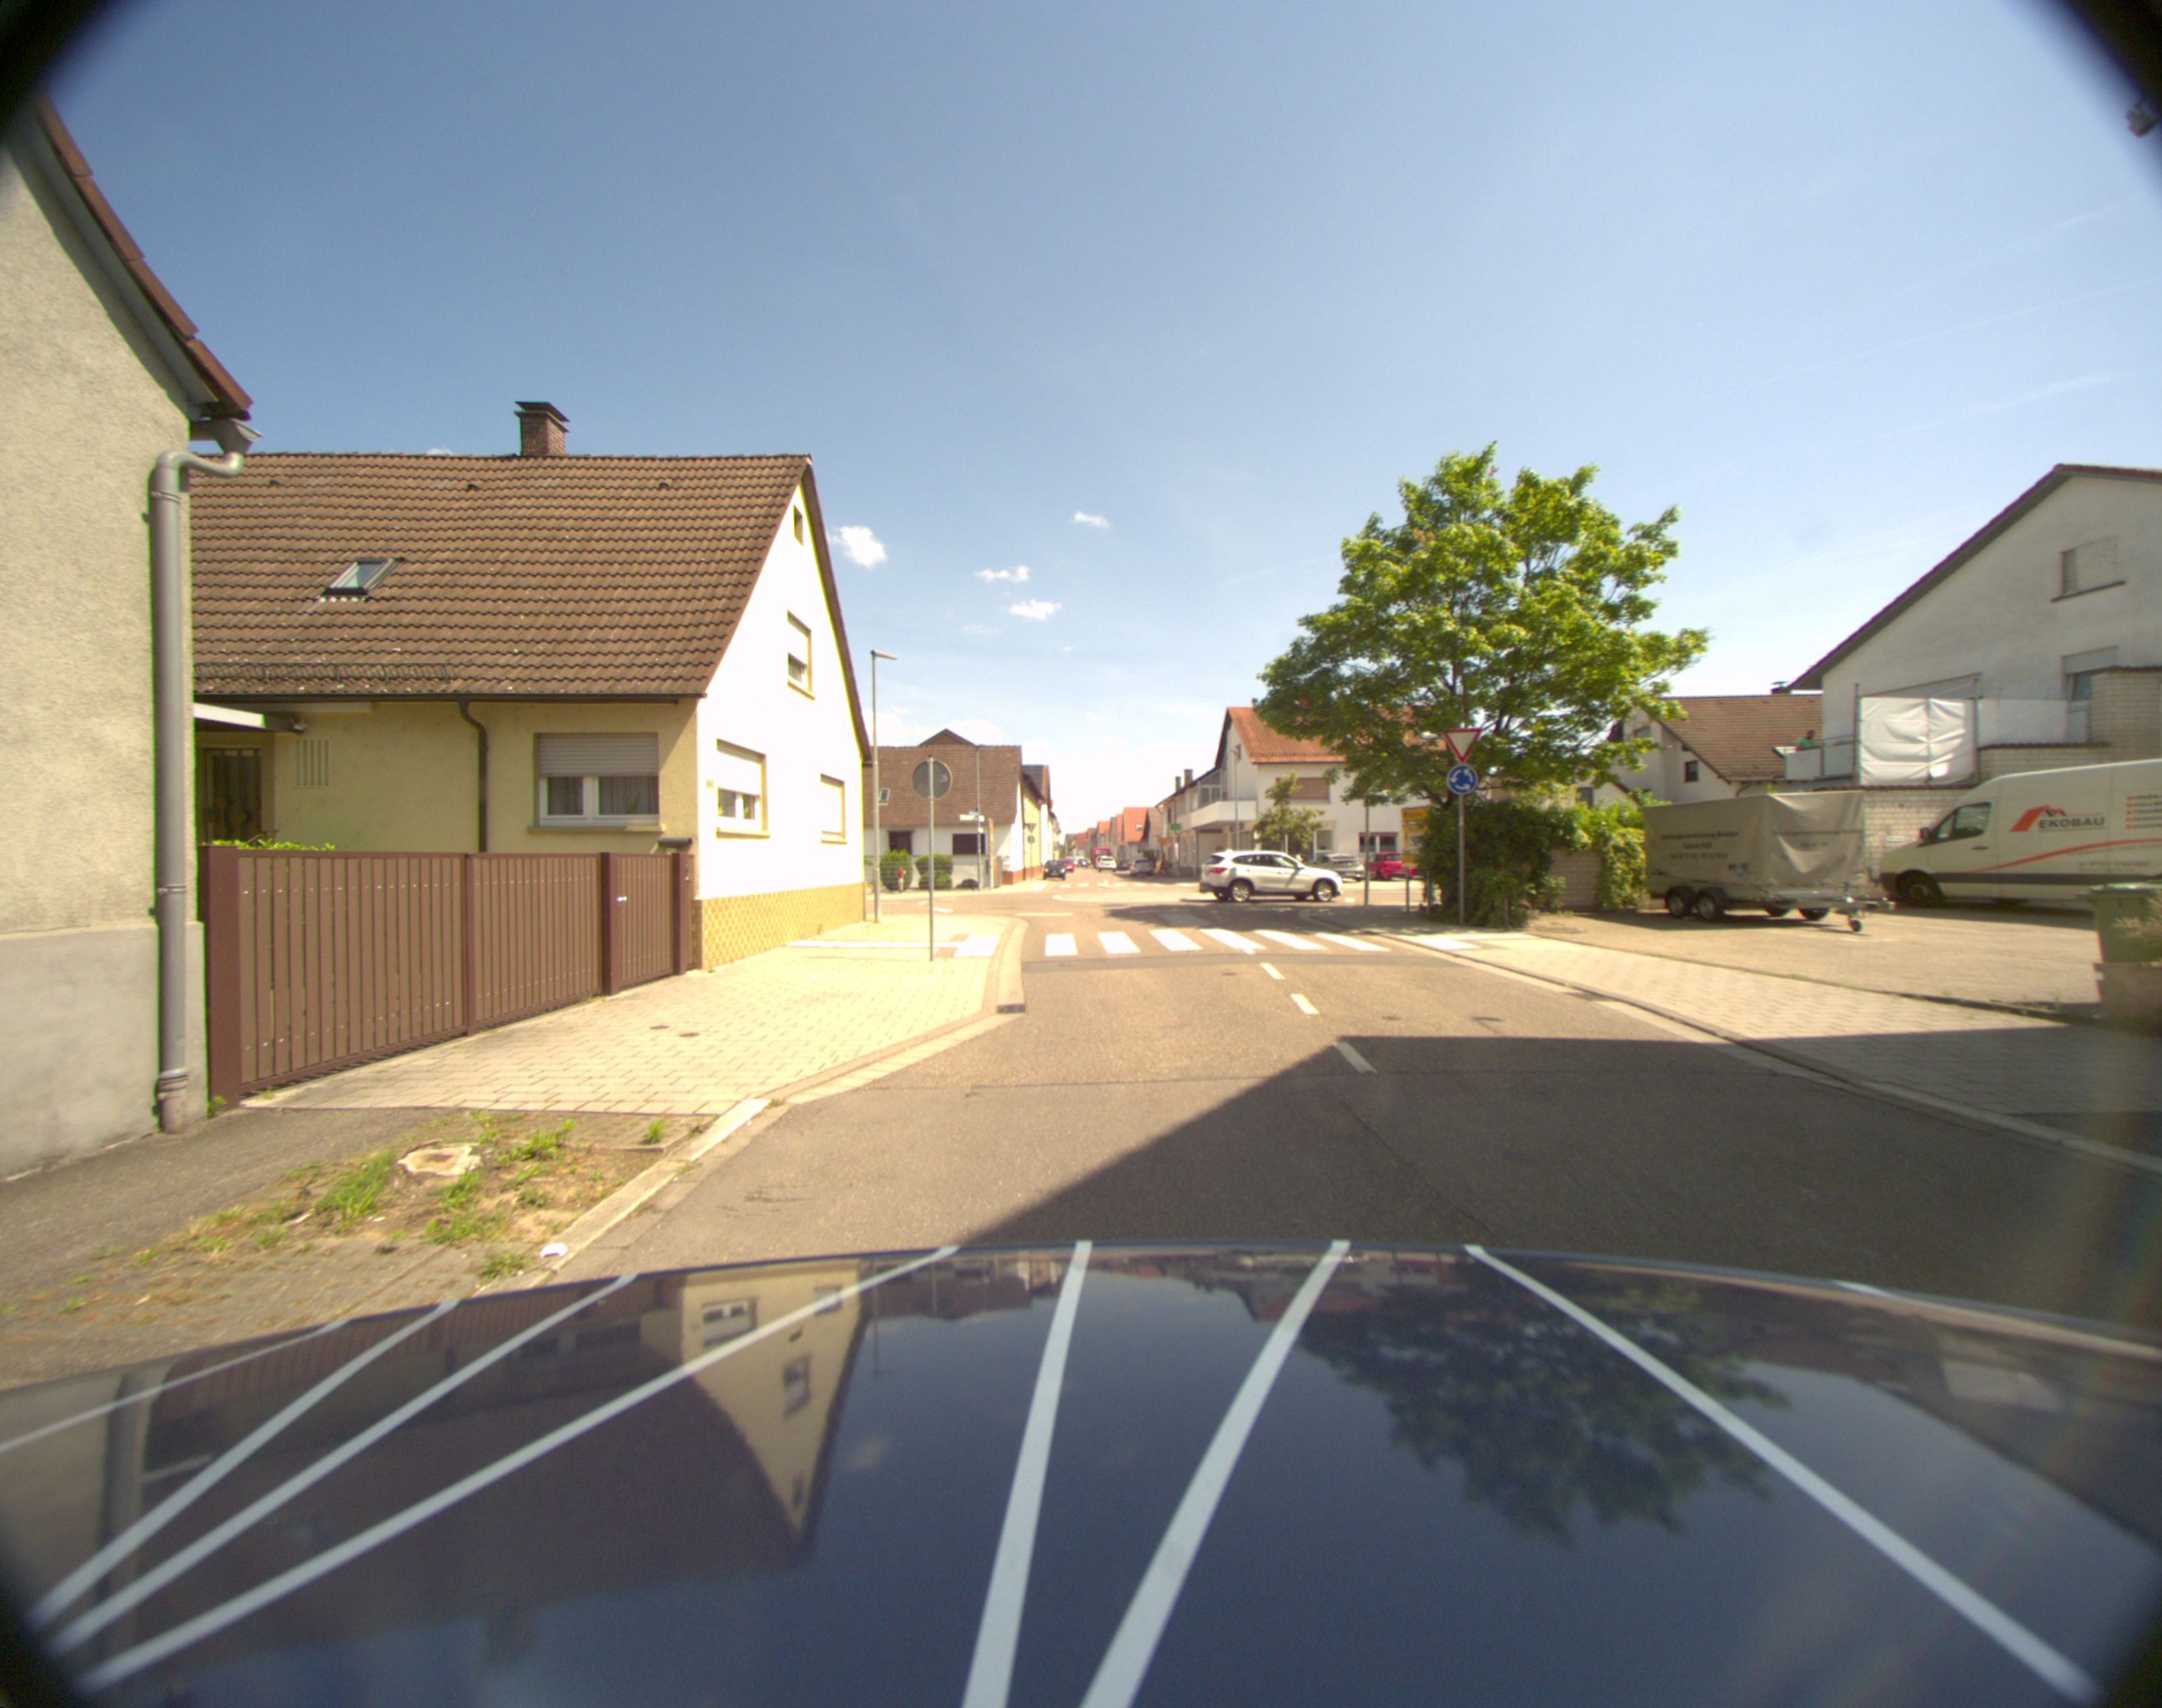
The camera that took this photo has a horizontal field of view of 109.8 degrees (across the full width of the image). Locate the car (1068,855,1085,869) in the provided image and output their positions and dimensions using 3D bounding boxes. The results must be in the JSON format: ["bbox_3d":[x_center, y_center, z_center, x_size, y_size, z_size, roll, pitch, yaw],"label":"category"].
[{"bbox_3d":[-0.483,0.848,82.930,1.764,1.420,4.189,-1,0,0],"label":"car"}]

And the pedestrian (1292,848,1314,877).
[{"bbox_3d":[12.461,0.490,42.671,0.956,1.574,0.757,-3,1,1],"label":"pedestrian"}]

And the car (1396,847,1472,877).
[{"bbox_3d":[18.437,0.399,39.916,1.835,1.442,4.478,-1,1,-1],"label":"car"}]

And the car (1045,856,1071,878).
[{"bbox_3d":[-1.618,0.919,54.158,1.690,1.454,3.629,1,0,0],"label":"car"}]

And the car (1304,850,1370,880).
[{"bbox_3d":[13.327,0.536,39.836,1.835,1.442,4.478,-1,1,-1],"label":"car"}]

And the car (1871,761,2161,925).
[{"bbox_3d":[17.795,-0.207,13.337,1.941,2.552,5.647,-3,0,1],"label":"car"}]

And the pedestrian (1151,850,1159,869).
[{"bbox_3d":[6.924,0.527,70.981,0.579,1.780,0.693,-3,1,0],"label":"pedestrian"}]

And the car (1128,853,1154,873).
[{"bbox_3d":[5.063,0.746,64.513,1.748,1.507,3.999,-5,1,-2],"label":"car"}]

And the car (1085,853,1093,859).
[{"bbox_3d":[1.960,0.561,191.578,1.765,1.420,3.851,-1,0,-3],"label":"car"}]

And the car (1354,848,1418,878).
[{"bbox_3d":[16.022,0.419,40.107,1.752,1.468,3.963,-1,1,-1],"label":"car"}]

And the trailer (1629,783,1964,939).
[{"bbox_3d":[12.675,0.105,13.990,1.883,2.322,4.523,-3,0,1],"label":"trailer"}]

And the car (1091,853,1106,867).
[{"bbox_3d":[2.344,0.761,102.179,1.776,1.810,4.441,0,0,-1],"label":"car"}]

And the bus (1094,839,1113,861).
[{"bbox_3d":[3.476,-0.578,119.398,2.633,3.213,12.021,0,0,0],"label":"bus"}]

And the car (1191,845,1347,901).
[{"bbox_3d":[5.852,0.596,23.931,4.373,1.635,1.845,1,-1,-6],"label":"car"}]

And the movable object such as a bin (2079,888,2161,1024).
[{"bbox_3d":[9.126,0.843,6.388,0.601,1.072,0.658,-1,1,2],"label":"movable object such as a bin"}]

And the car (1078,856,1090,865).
[{"bbox_3d":[0.531,1.086,131.677,1.765,1.420,4.188,-1,0,-3],"label":"car"}]

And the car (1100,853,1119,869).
[{"bbox_3d":[3.127,0.756,83.457,1.871,1.700,4.542,-1,0,-1],"label":"car"}]

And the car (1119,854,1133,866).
[{"bbox_3d":[5.480,0.725,93.295,1.458,1.362,3.384,-4,0,1],"label":"car"}]

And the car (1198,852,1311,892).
[{"bbox_3d":[7.044,0.783,30.941,4.327,1.439,1.884,-2,-3,13],"label":"car"}]
